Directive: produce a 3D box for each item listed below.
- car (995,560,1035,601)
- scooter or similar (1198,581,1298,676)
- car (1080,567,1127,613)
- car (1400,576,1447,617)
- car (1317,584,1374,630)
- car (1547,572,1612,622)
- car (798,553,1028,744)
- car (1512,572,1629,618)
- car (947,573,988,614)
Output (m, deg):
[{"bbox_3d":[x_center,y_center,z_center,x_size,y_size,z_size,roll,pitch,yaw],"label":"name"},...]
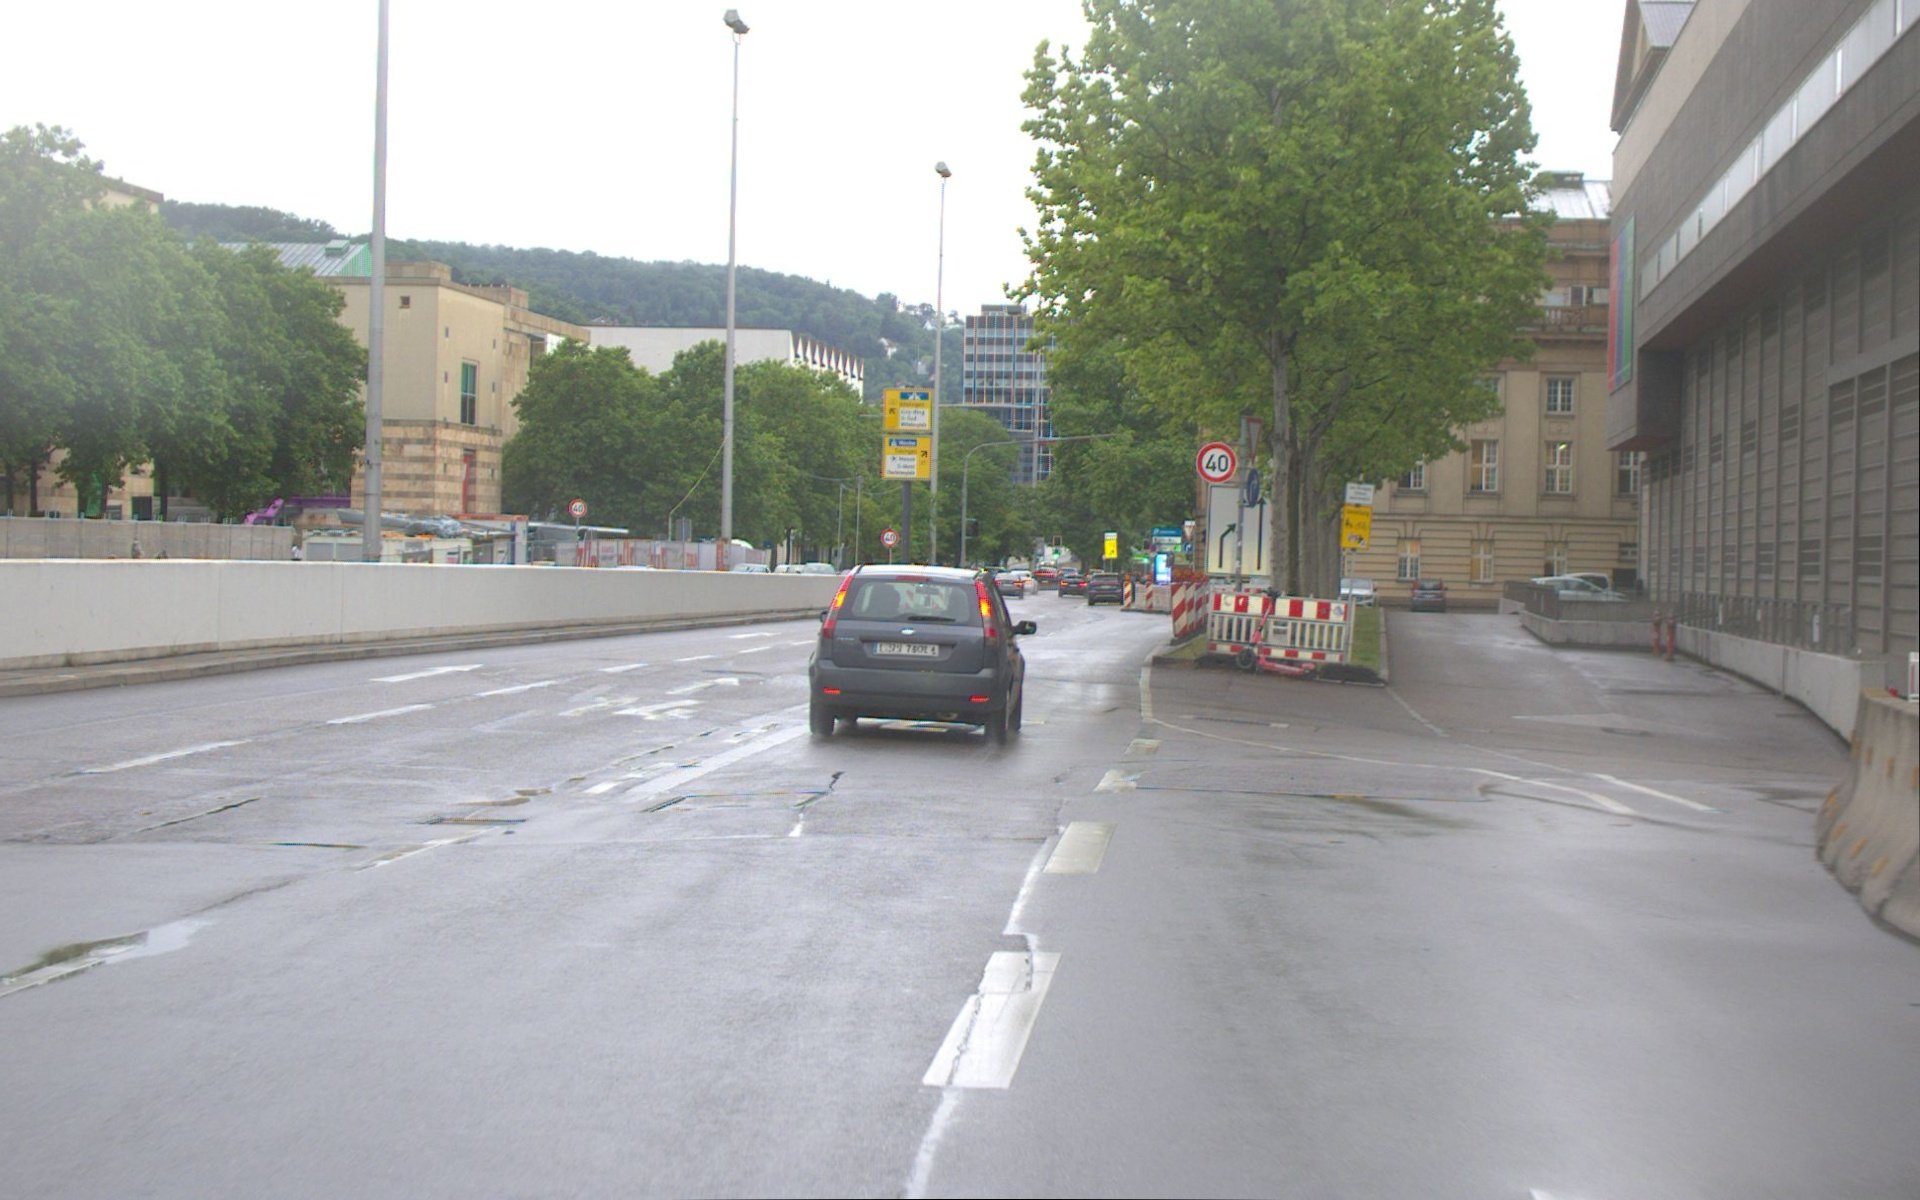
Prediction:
[{"bbox_3d":[3.001,-1.034,187.377,1.993,2.007,4.000,4,-1,0],"label":"car"},{"bbox_3d":[4.172,0.411,49.739,1.356,1.281,0.619,4,-1,6],"label":"scooter or similar"},{"bbox_3d":[6.826,-0.490,163.730,1.994,2.007,4.000,3,1,5],"label":"car"},{"bbox_3d":[21.517,-0.149,159.514,1.994,1.703,3.998,3,-1,9],"label":"car"},{"bbox_3d":[15.536,0.262,138.519,1.994,1.702,3.999,3,1,9],"label":"car"},{"bbox_3d":[23.580,-0.100,131.010,1.994,1.754,5.095,1,-1,5],"label":"car"},{"bbox_3d":[-0.342,0.363,29.303,1.670,1.422,3.757,3,1,3],"label":"car"},{"bbox_3d":[21.860,-0.161,123.192,3.988,1.554,1.933,0,-2,6],"label":"car"},{"bbox_3d":[0.269,-0.214,120.199,1.385,1.382,3.067,1,0,0],"label":"car"}]
